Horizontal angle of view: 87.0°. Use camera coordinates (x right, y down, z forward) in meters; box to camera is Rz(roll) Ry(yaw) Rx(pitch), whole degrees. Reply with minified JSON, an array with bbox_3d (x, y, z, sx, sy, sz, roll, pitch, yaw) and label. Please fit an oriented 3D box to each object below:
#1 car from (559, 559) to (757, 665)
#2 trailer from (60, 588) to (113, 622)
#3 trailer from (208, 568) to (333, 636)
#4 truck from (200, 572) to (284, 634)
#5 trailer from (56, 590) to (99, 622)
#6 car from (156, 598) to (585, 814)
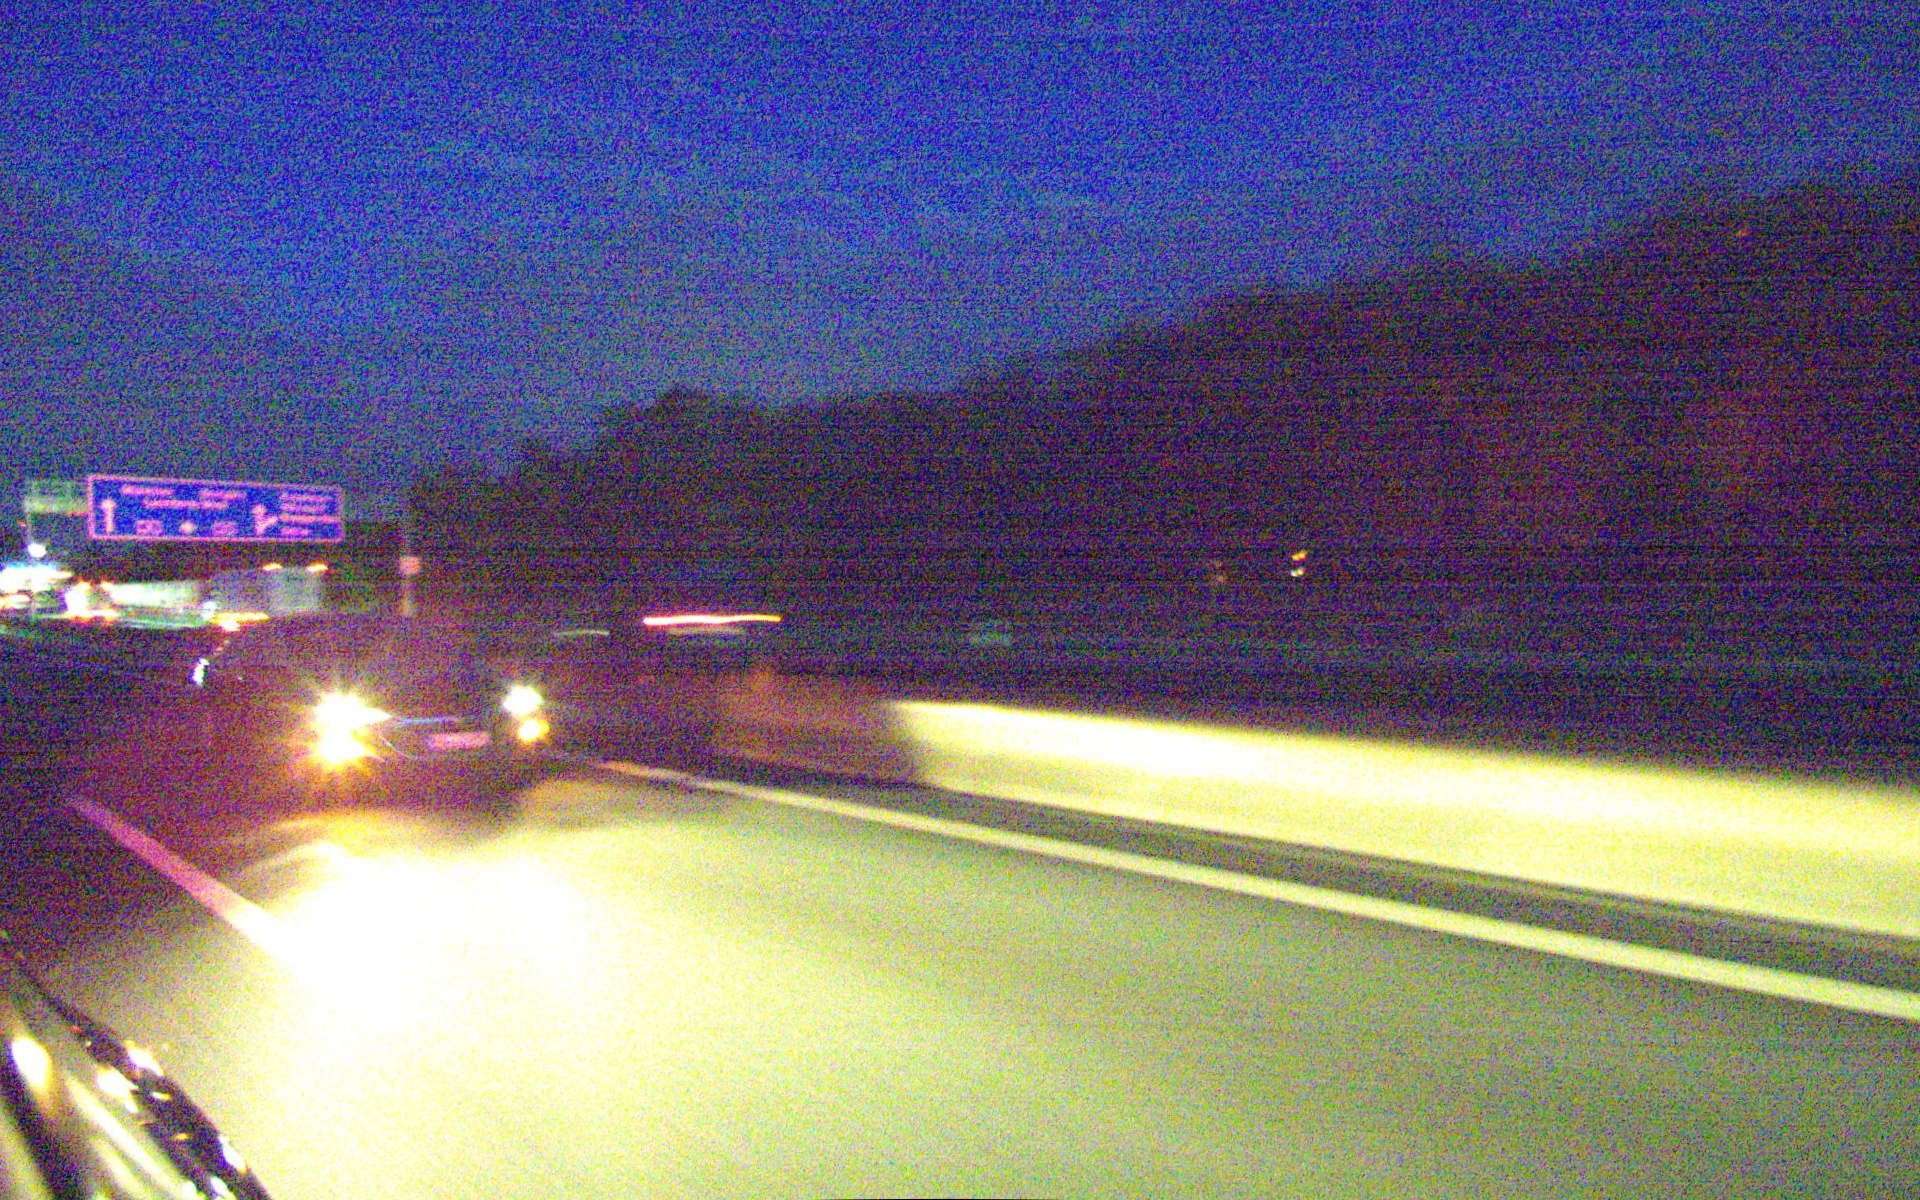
[{"bbox_3d":[-8.225,0.324,27.136,6.212,2.537,2.079,-1,-1,41],"label":"car"},{"bbox_3d":[-108.601,0.654,125.753,14.046,4.010,3.393,-1,0,43],"label":"trailer"},{"bbox_3d":[-44.878,0.183,65.595,13.805,4.010,3.394,-1,0,41],"label":"trailer"},{"bbox_3d":[-49.336,0.218,69.486,6.204,4.010,3.394,-1,0,41],"label":"truck"},{"bbox_3d":[-114.281,0.721,130.968,7.351,4.010,3.393,-1,0,42],"label":"trailer"},{"bbox_3d":[-6.021,0.841,9.920,5.648,1.530,1.972,-2,-1,42],"label":"car"}]
